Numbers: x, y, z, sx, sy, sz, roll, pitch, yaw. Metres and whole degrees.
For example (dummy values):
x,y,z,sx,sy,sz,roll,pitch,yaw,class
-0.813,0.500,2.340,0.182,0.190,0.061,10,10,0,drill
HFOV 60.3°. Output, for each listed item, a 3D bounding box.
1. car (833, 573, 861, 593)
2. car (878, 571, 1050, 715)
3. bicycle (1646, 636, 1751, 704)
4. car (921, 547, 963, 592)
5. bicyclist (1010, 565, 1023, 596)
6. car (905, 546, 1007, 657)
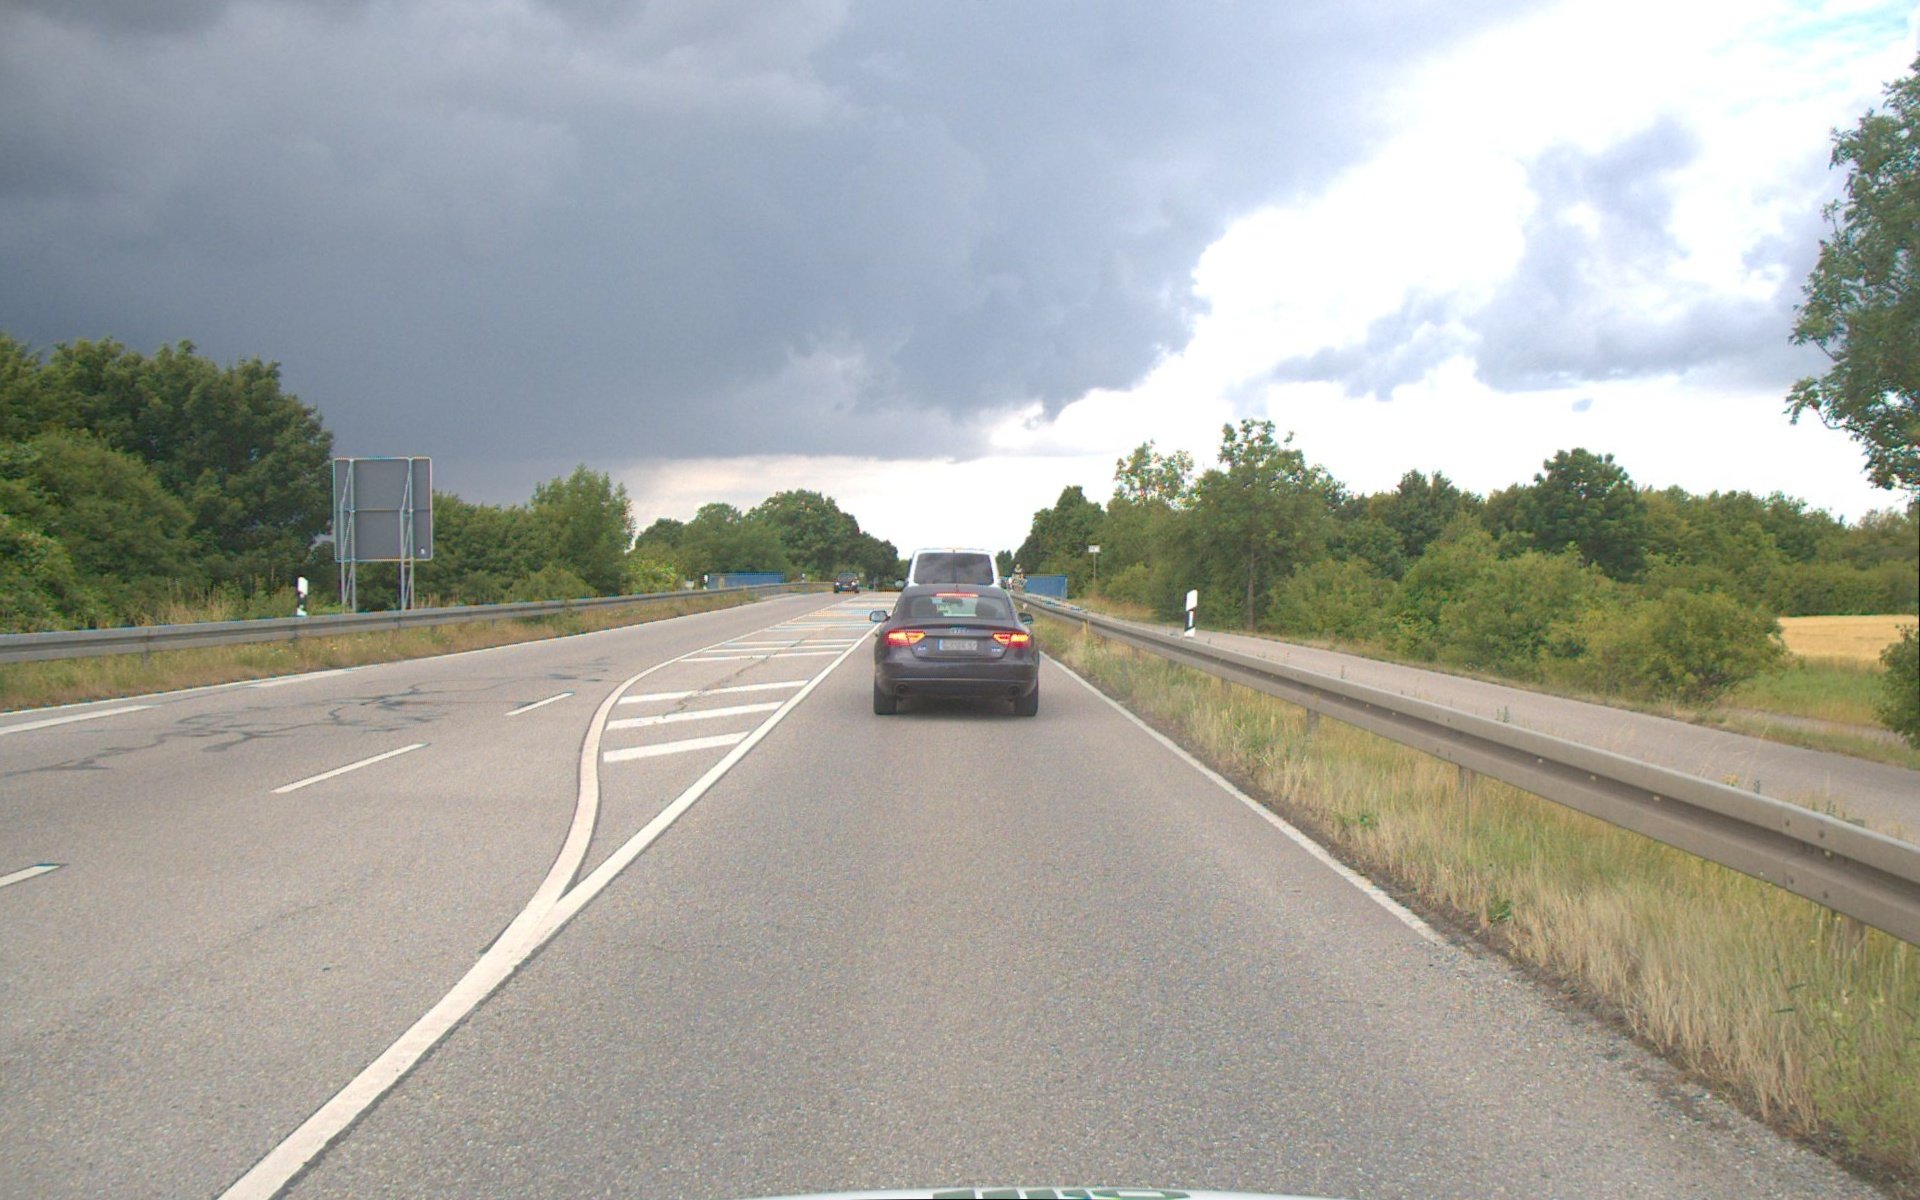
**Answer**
x,y,z,sx,sy,sz,roll,pitch,yaw,class
-8.115,-1.234,119.293,1.825,1.400,3.999,1,1,-2,car
0.011,0.426,18.968,1.749,1.448,3.999,1,0,-1,car
13.751,1.277,30.902,0.642,1.158,2.830,1,0,-1,bicycle
-1.049,-1.802,98.092,2.397,2.548,5.041,1,1,-1,car
3.087,-1.040,90.171,0.634,1.674,0.866,0,0,-1,bicyclist
-0.104,0.015,31.004,1.749,1.922,3.999,1,0,-1,car
